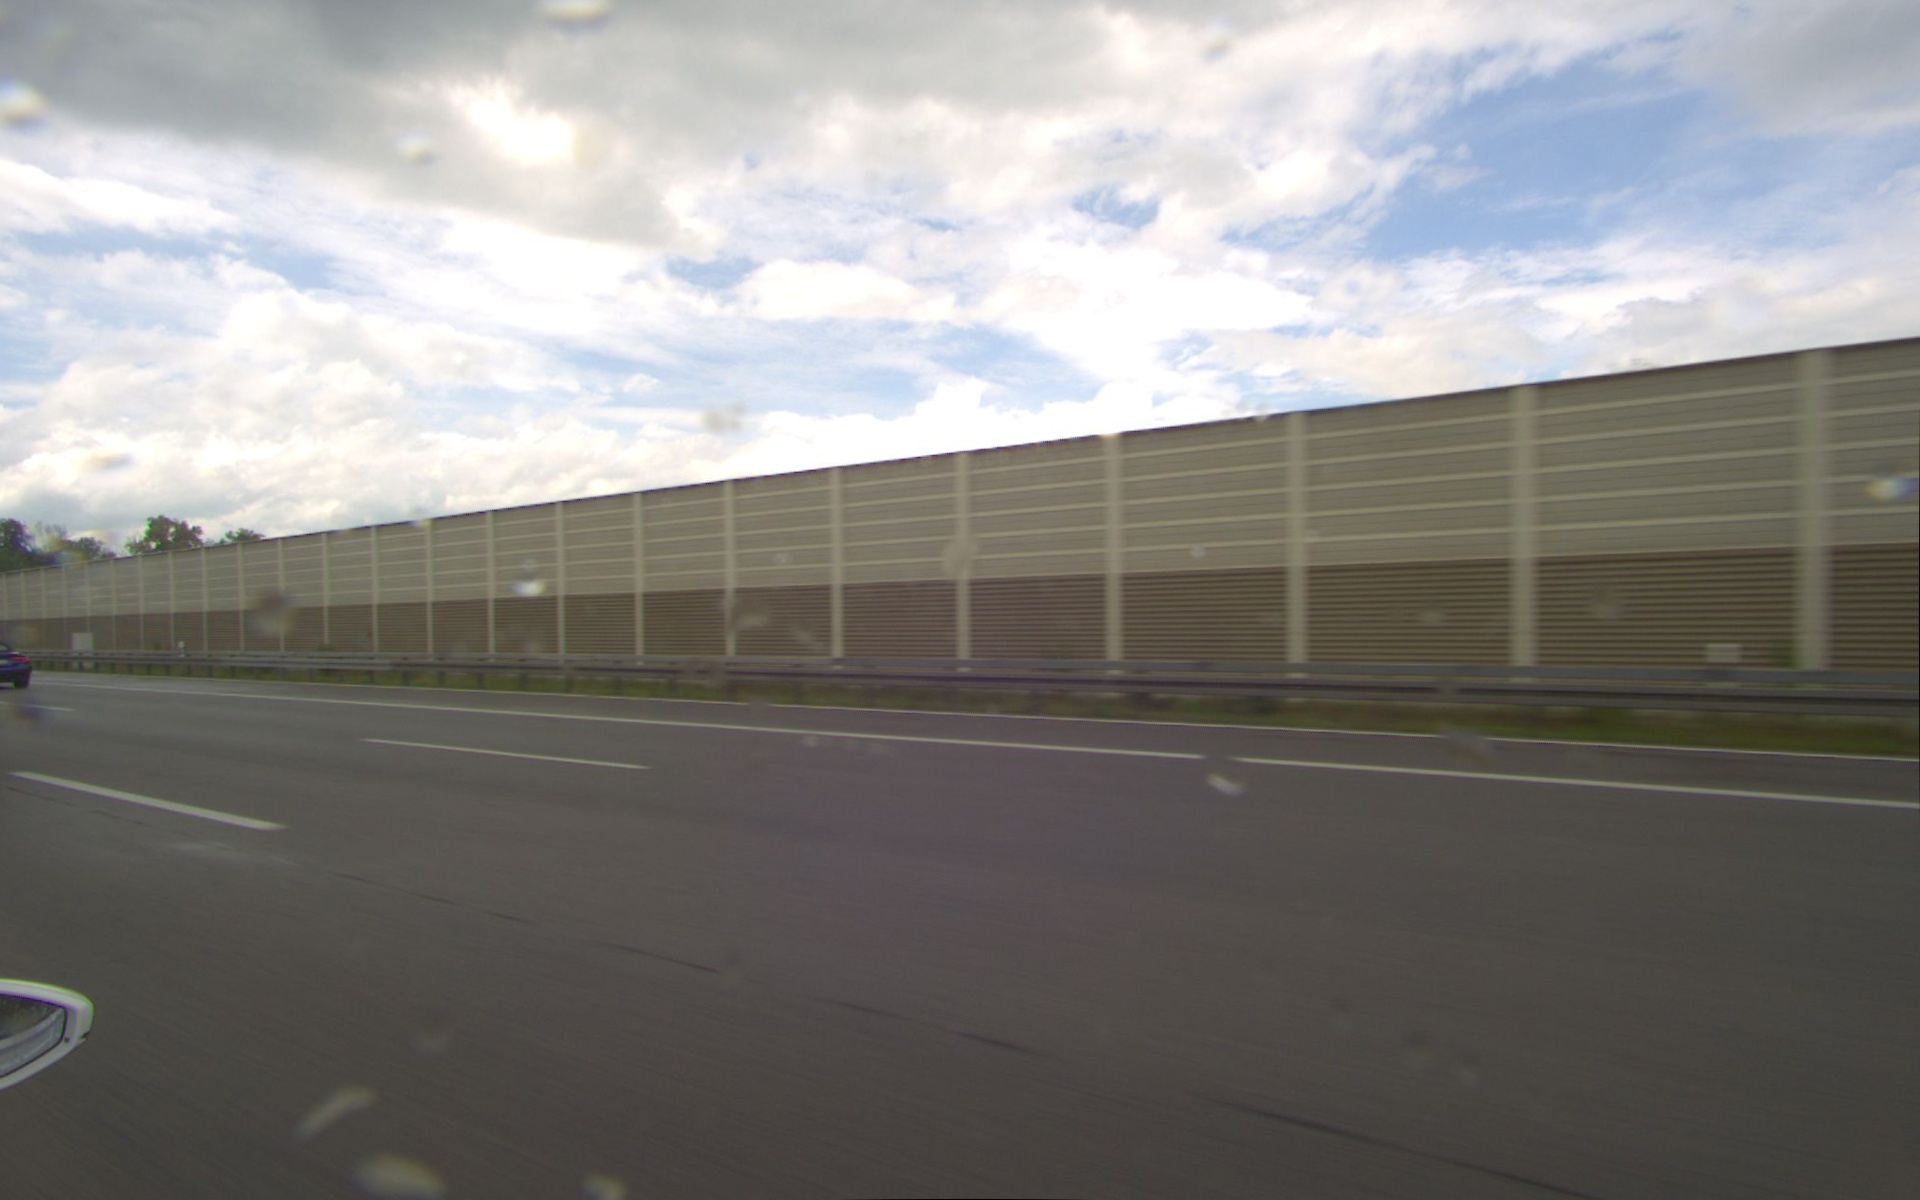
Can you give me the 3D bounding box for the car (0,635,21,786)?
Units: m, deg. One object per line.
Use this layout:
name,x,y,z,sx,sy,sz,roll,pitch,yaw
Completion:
car,-11.298,1.092,10.179,4.220,1.435,1.713,-2,-2,35

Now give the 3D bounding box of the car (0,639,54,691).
car,-29.042,1.920,29.911,4.173,1.436,1.945,-2,-1,33
